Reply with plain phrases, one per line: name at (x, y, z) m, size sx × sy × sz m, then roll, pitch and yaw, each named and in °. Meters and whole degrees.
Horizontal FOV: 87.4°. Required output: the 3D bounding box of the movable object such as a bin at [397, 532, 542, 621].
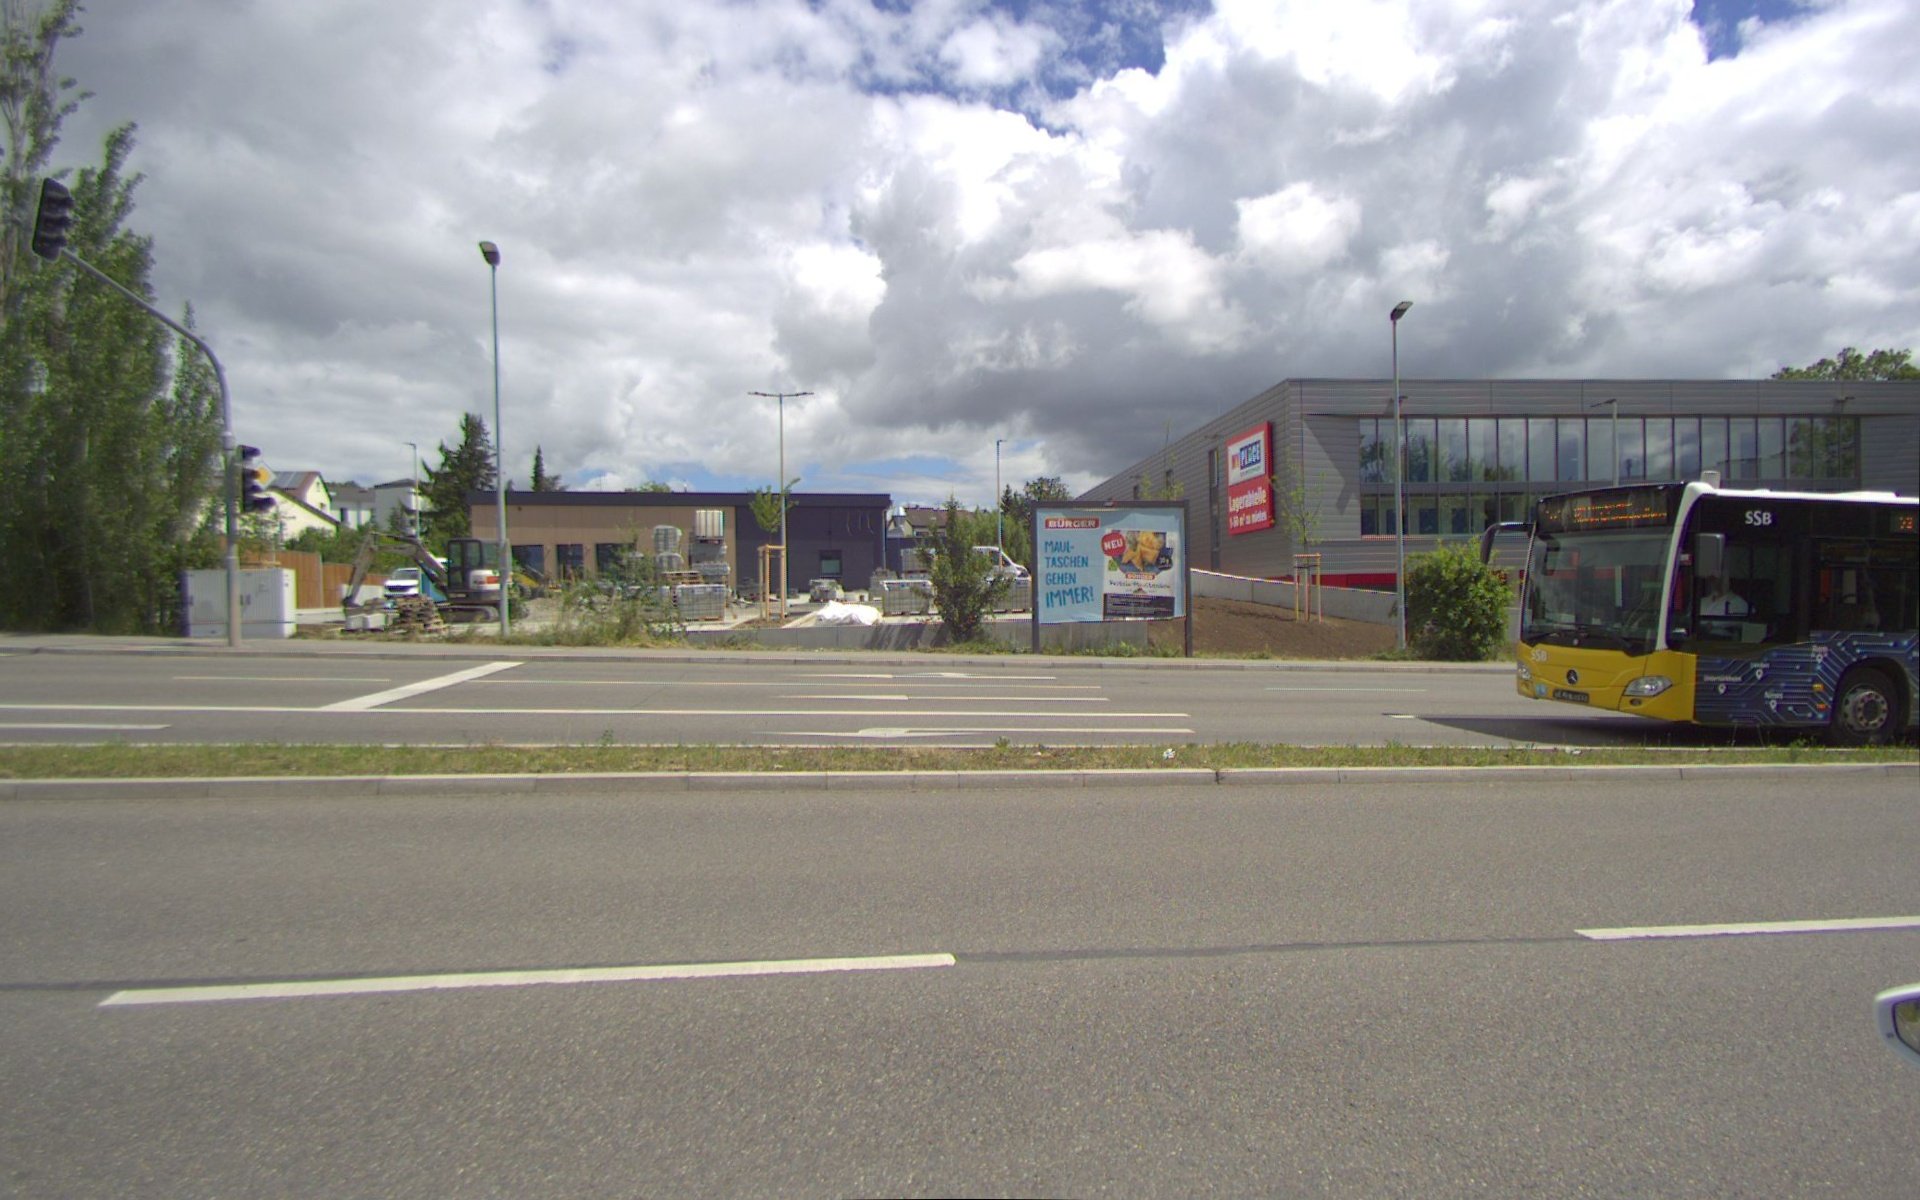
movable object such as a bin at (-15.049, -0.701, 30.922) m, size 3.345 × 2.572 × 2.154 m, roll 1°, pitch 0°, yaw 9°

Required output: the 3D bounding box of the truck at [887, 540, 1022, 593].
truck at (-0.234, -1.636, 49.962) m, size 6.448 × 2.174 × 2.001 m, roll -3°, pitch 1°, yaw 6°

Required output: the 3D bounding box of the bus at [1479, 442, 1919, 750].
bus at (12.243, 0.073, 13.029) m, size 9.934 × 3.329 × 2.821 m, roll 2°, pitch 1°, yaw -8°

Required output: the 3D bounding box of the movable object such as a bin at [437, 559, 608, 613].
movable object such as a bin at (-19.961, -0.619, 45.974) m, size 6.806 × 2.040 × 2.296 m, roll -3°, pitch 1°, yaw 4°

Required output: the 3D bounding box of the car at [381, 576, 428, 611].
car at (-29.115, -0.333, 52.715) m, size 1.689 × 1.757 × 3.716 m, roll 1°, pitch 0°, yaw -22°
